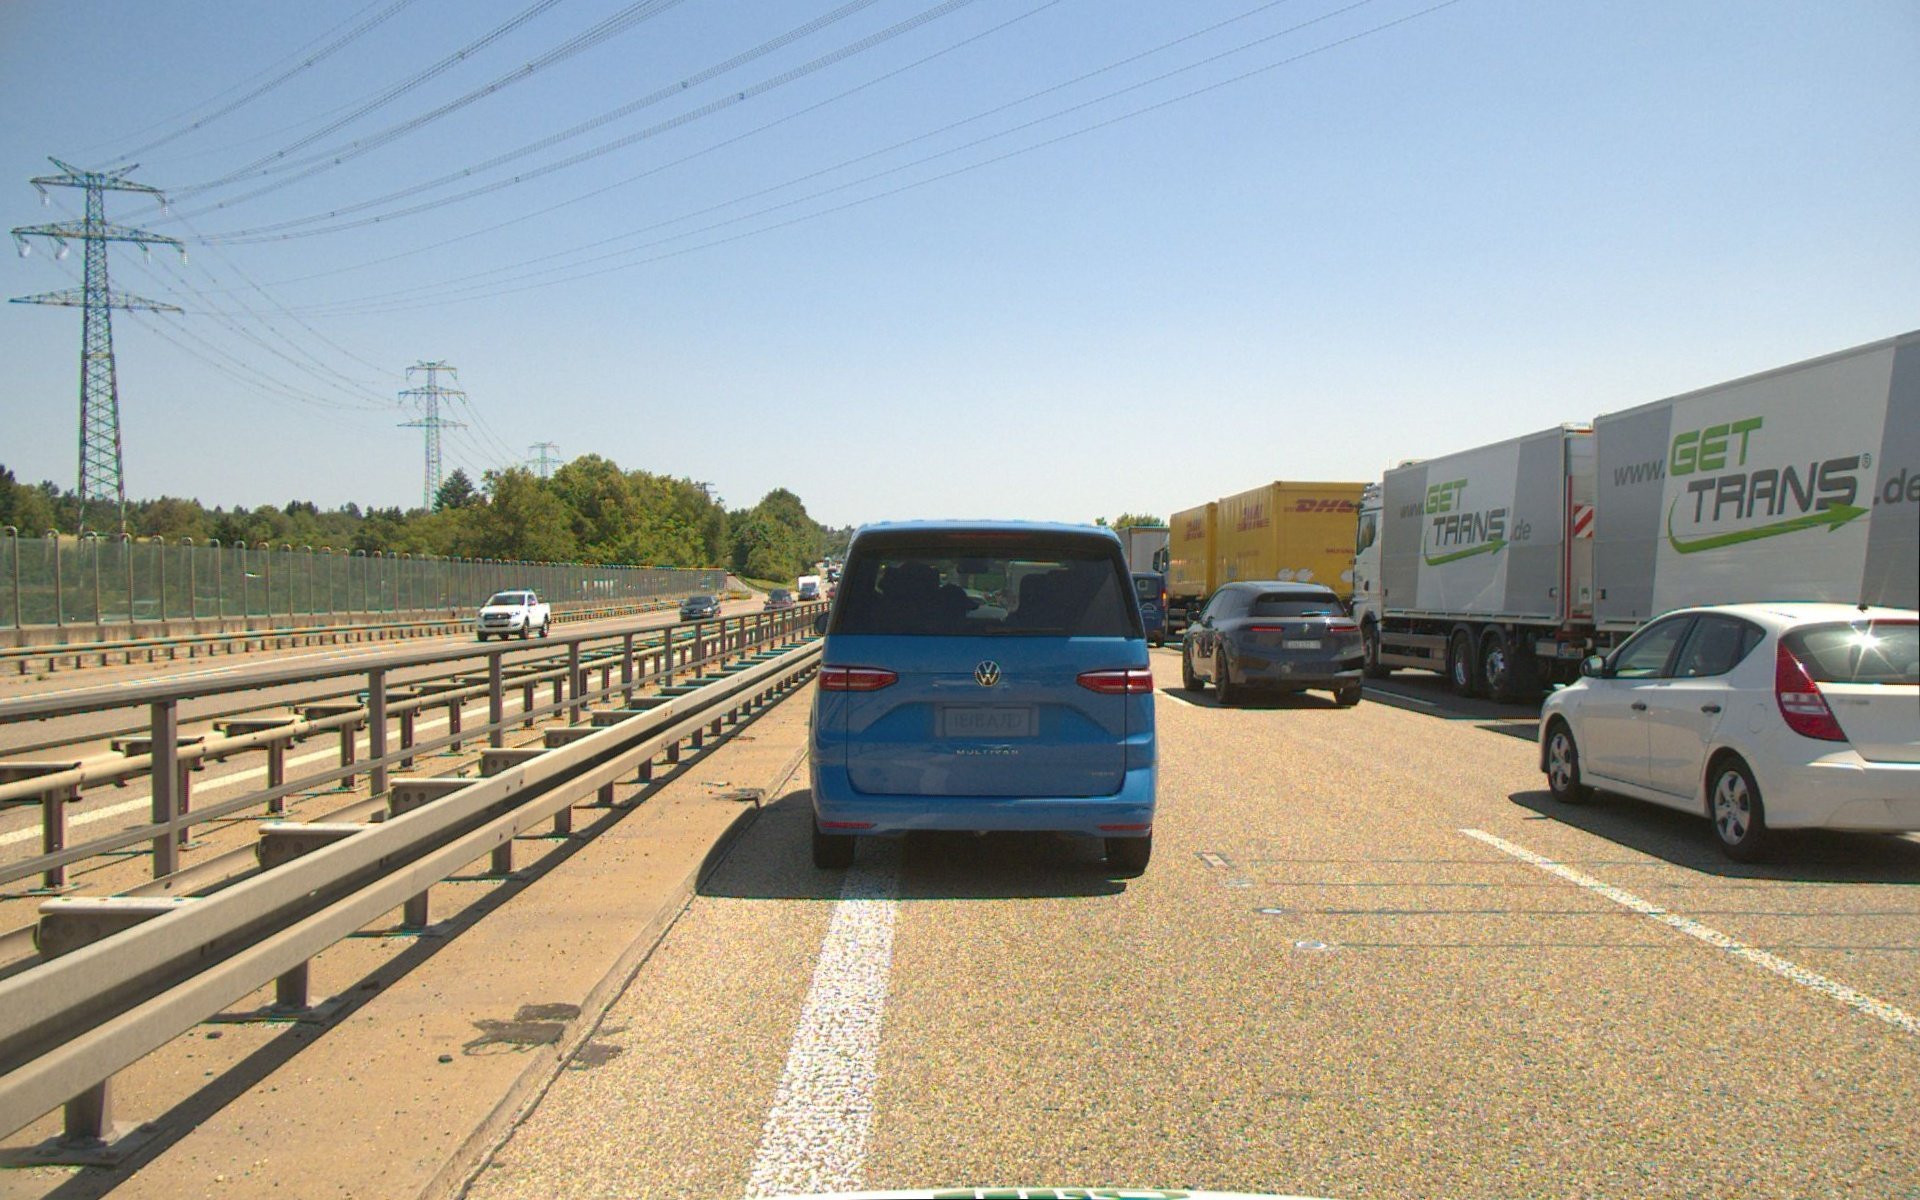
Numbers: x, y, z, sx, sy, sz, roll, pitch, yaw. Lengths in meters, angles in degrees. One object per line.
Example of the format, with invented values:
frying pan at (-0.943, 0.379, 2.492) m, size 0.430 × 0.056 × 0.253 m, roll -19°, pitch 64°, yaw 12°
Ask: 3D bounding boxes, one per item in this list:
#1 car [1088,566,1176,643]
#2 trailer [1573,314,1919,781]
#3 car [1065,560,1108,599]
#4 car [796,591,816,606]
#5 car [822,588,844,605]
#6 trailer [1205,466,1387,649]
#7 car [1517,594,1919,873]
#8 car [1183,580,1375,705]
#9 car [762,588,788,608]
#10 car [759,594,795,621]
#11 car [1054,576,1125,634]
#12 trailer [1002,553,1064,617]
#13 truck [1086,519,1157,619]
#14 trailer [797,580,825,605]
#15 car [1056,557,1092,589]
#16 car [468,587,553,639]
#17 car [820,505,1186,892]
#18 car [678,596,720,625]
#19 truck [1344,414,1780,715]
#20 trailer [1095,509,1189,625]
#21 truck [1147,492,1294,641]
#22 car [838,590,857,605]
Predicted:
car at (4.698, 0.099, 45.764) m, size 1.922 × 2.028 × 4.292 m, roll 0°, pitch 0°, yaw -1°
trailer at (8.975, -0.448, 16.436) m, size 2.643 × 3.765 × 8.012 m, roll 0°, pitch 0°, yaw -1°
car at (6.837, -1.081, 89.640) m, size 1.953 × 2.049 × 3.999 m, roll 1°, pitch 0°, yaw -1°
car at (-16.221, -0.183, 174.563) m, size 1.739 × 1.432 × 4.681 m, roll -2°, pitch 0°, yaw -1°
car at (-11.720, -0.321, 152.741) m, size 1.754 × 1.504 × 3.988 m, roll 0°, pitch 0°, yaw -1°
trailer at (8.682, -1.004, 43.900) m, size 2.806 × 4.313 × 9.009 m, roll 1°, pitch 0°, yaw -1°
car at (5.352, 0.713, 11.052) m, size 1.752 × 1.481 × 4.292 m, roll 0°, pitch 0°, yaw -1°
car at (4.549, 0.551, 24.245) m, size 1.922 × 1.673 × 4.292 m, roll 0°, pitch 0°, yaw -1°
car at (-15.411, -0.174, 137.953) m, size 1.695 × 1.517 × 4.418 m, roll -2°, pitch 1°, yaw -1°
car at (-9.904, 0.380, 89.684) m, size 1.565 × 1.341 × 4.340 m, roll -2°, pitch 0°, yaw -1°
car at (4.240, 0.155, 54.691) m, size 1.953 × 1.847 × 3.999 m, roll 0°, pitch 0°, yaw -1°
trailer at (3.632, -0.713, 84.621) m, size 2.517 × 3.042 × 10.661 m, roll 1°, pitch 0°, yaw -1°
truck at (7.667, -1.429, 79.403) m, size 2.613 × 4.562 × 6.848 m, roll 1°, pitch 0°, yaw -1°
trailer at (-16.262, -0.793, 180.302) m, size 2.442 × 2.593 × 6.773 m, roll -2°, pitch 0°, yaw -1°
car at (7.370, -1.734, 107.124) m, size 1.953 × 2.049 × 4.460 m, roll -1°, pitch 0°, yaw -1°
car at (-17.265, 0.468, 63.821) m, size 1.953 × 1.918 × 5.254 m, roll 0°, pitch 0°, yaw -1°
car at (0.188, 0.485, 10.228) m, size 1.783 × 1.890 × 4.074 m, roll 1°, pitch 0°, yaw -1°
car at (-13.419, 0.512, 85.220) m, size 1.565 × 1.373 × 4.178 m, roll -2°, pitch 0°, yaw -1°
truck at (8.731, -0.479, 25.963) m, size 2.603 × 3.711 × 11.008 m, roll 0°, pitch 0°, yaw -1°
trailer at (7.776, -1.371, 72.043) m, size 2.583 × 4.595 × 11.299 m, roll 1°, pitch 0°, yaw -1°
truck at (8.261, -1.011, 53.937) m, size 2.778 × 4.317 × 11.007 m, roll 1°, pitch 0°, yaw -1°
car at (-11.707, -0.286, 172.220) m, size 1.634 × 1.473 × 4.000 m, roll -3°, pitch 1°, yaw 0°
